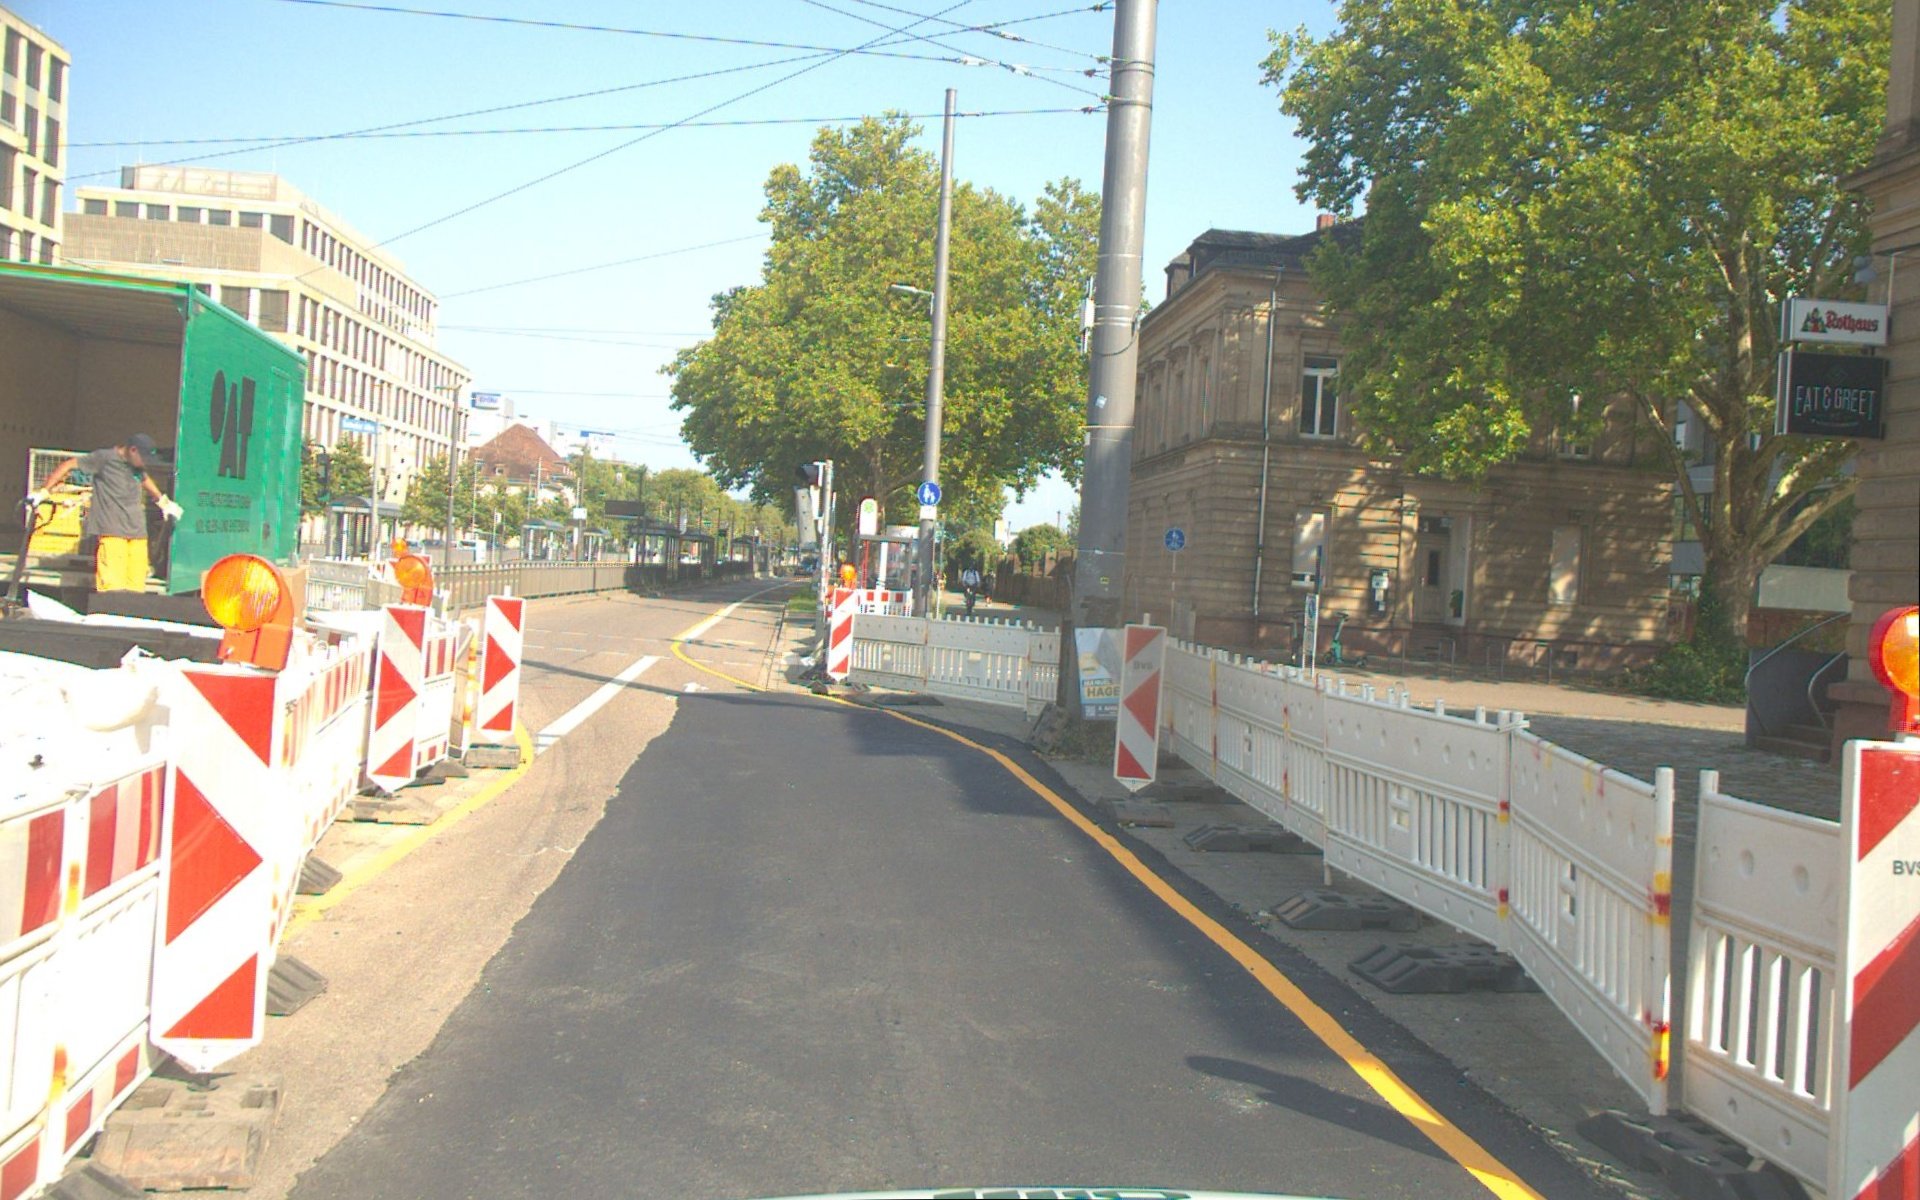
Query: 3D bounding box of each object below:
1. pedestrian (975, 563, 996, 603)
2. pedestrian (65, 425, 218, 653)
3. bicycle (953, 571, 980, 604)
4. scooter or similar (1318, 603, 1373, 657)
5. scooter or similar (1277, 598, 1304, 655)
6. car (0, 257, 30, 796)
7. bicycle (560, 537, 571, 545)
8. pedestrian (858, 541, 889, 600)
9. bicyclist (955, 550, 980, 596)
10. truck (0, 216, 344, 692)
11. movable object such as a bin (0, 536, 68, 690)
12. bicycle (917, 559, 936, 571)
[{"bbox_3d":[1.144,-0.777,74.476,0.803,1.715,1.011,3,1,-4],"label":"pedestrian"},{"bbox_3d":[-6.446,-0.474,13.038,0.692,1.723,0.764,4,1,31],"label":"pedestrian"},{"bbox_3d":[0.234,-0.450,59.088,0.703,1.059,1.900,3,2,-7],"label":"bicycle"},{"bbox_3d":[9.101,0.701,39.040,1.238,1.230,0.418,1,4,-30],"label":"scooter or similar"},{"bbox_3d":[7.680,0.609,38.430,0.412,1.230,1.256,4,3,18],"label":"scooter or similar"},{"bbox_3d":[-5.382,-0.308,6.030,2.189,2.776,5.149,3,1,-16],"label":"car"},{"bbox_3d":[-32.537,-4.853,136.342,0.467,0.674,1.613,3,1,0],"label":"bicycle"},{"bbox_3d":[-2.643,-0.897,50.363,0.679,1.726,0.644,2,1,-26],"label":"pedestrian"},{"bbox_3d":[0.270,-0.967,59.103,0.703,1.569,0.954,3,2,-7],"label":"bicyclist"},{"bbox_3d":[-8.468,-1.362,17.242,2.628,3.741,8.188,3,2,-13],"label":"truck"},{"bbox_3d":[-7.298,0.083,12.169,0.630,1.111,1.481,3,1,-1],"label":"movable object such as a bin"},{"bbox_3d":[-2.926,-3.020,143.532,1.622,0.986,0.506,2,1,1],"label":"bicycle"}]
